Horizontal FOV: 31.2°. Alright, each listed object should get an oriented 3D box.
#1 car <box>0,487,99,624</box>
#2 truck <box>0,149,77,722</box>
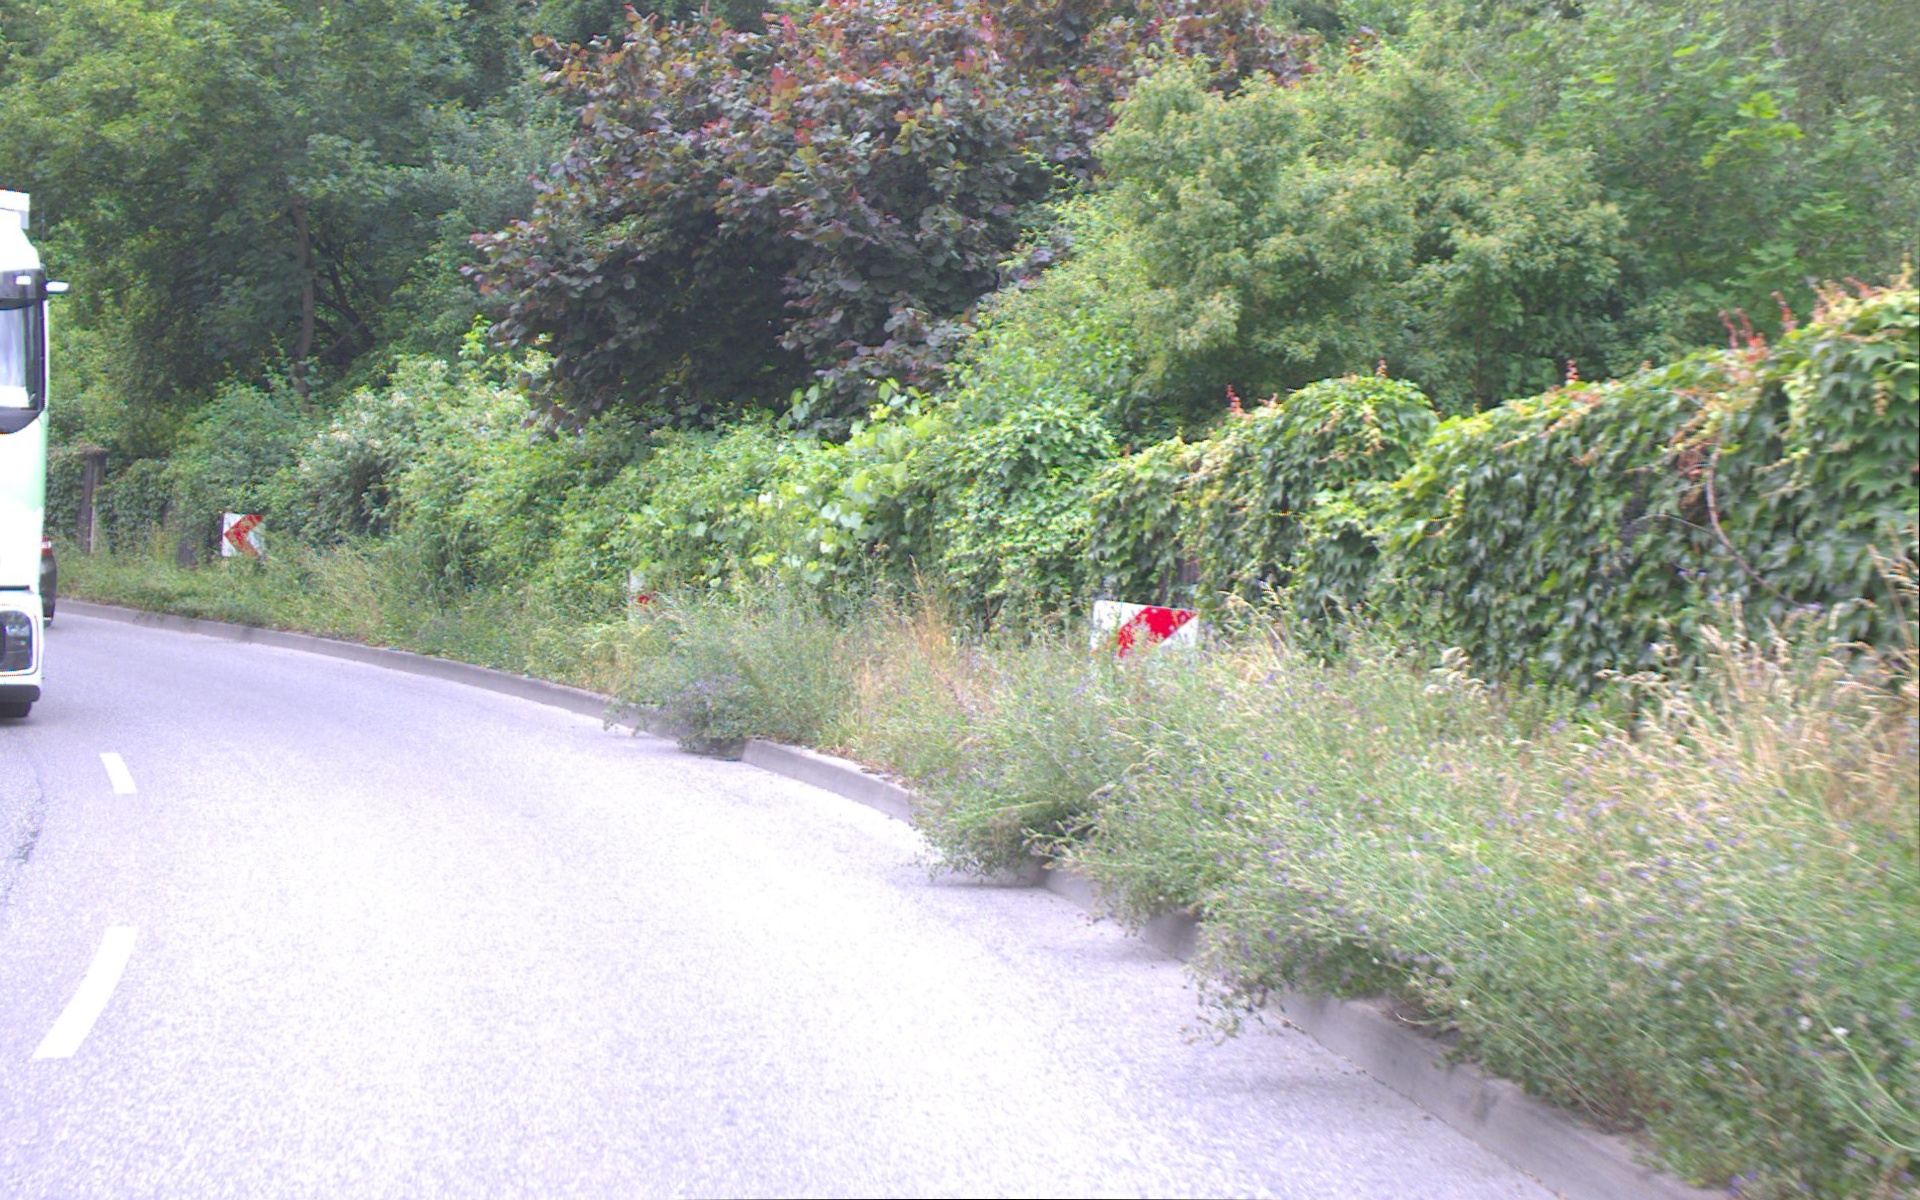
[{"bbox_3d":[-11.134,-0.469,39.741,1.839,1.478,4.001,-2,1,-20],"label":"car"},{"bbox_3d":[-8.771,-1.230,26.066,2.704,3.936,6.331,0,2,-27],"label":"truck"}]
